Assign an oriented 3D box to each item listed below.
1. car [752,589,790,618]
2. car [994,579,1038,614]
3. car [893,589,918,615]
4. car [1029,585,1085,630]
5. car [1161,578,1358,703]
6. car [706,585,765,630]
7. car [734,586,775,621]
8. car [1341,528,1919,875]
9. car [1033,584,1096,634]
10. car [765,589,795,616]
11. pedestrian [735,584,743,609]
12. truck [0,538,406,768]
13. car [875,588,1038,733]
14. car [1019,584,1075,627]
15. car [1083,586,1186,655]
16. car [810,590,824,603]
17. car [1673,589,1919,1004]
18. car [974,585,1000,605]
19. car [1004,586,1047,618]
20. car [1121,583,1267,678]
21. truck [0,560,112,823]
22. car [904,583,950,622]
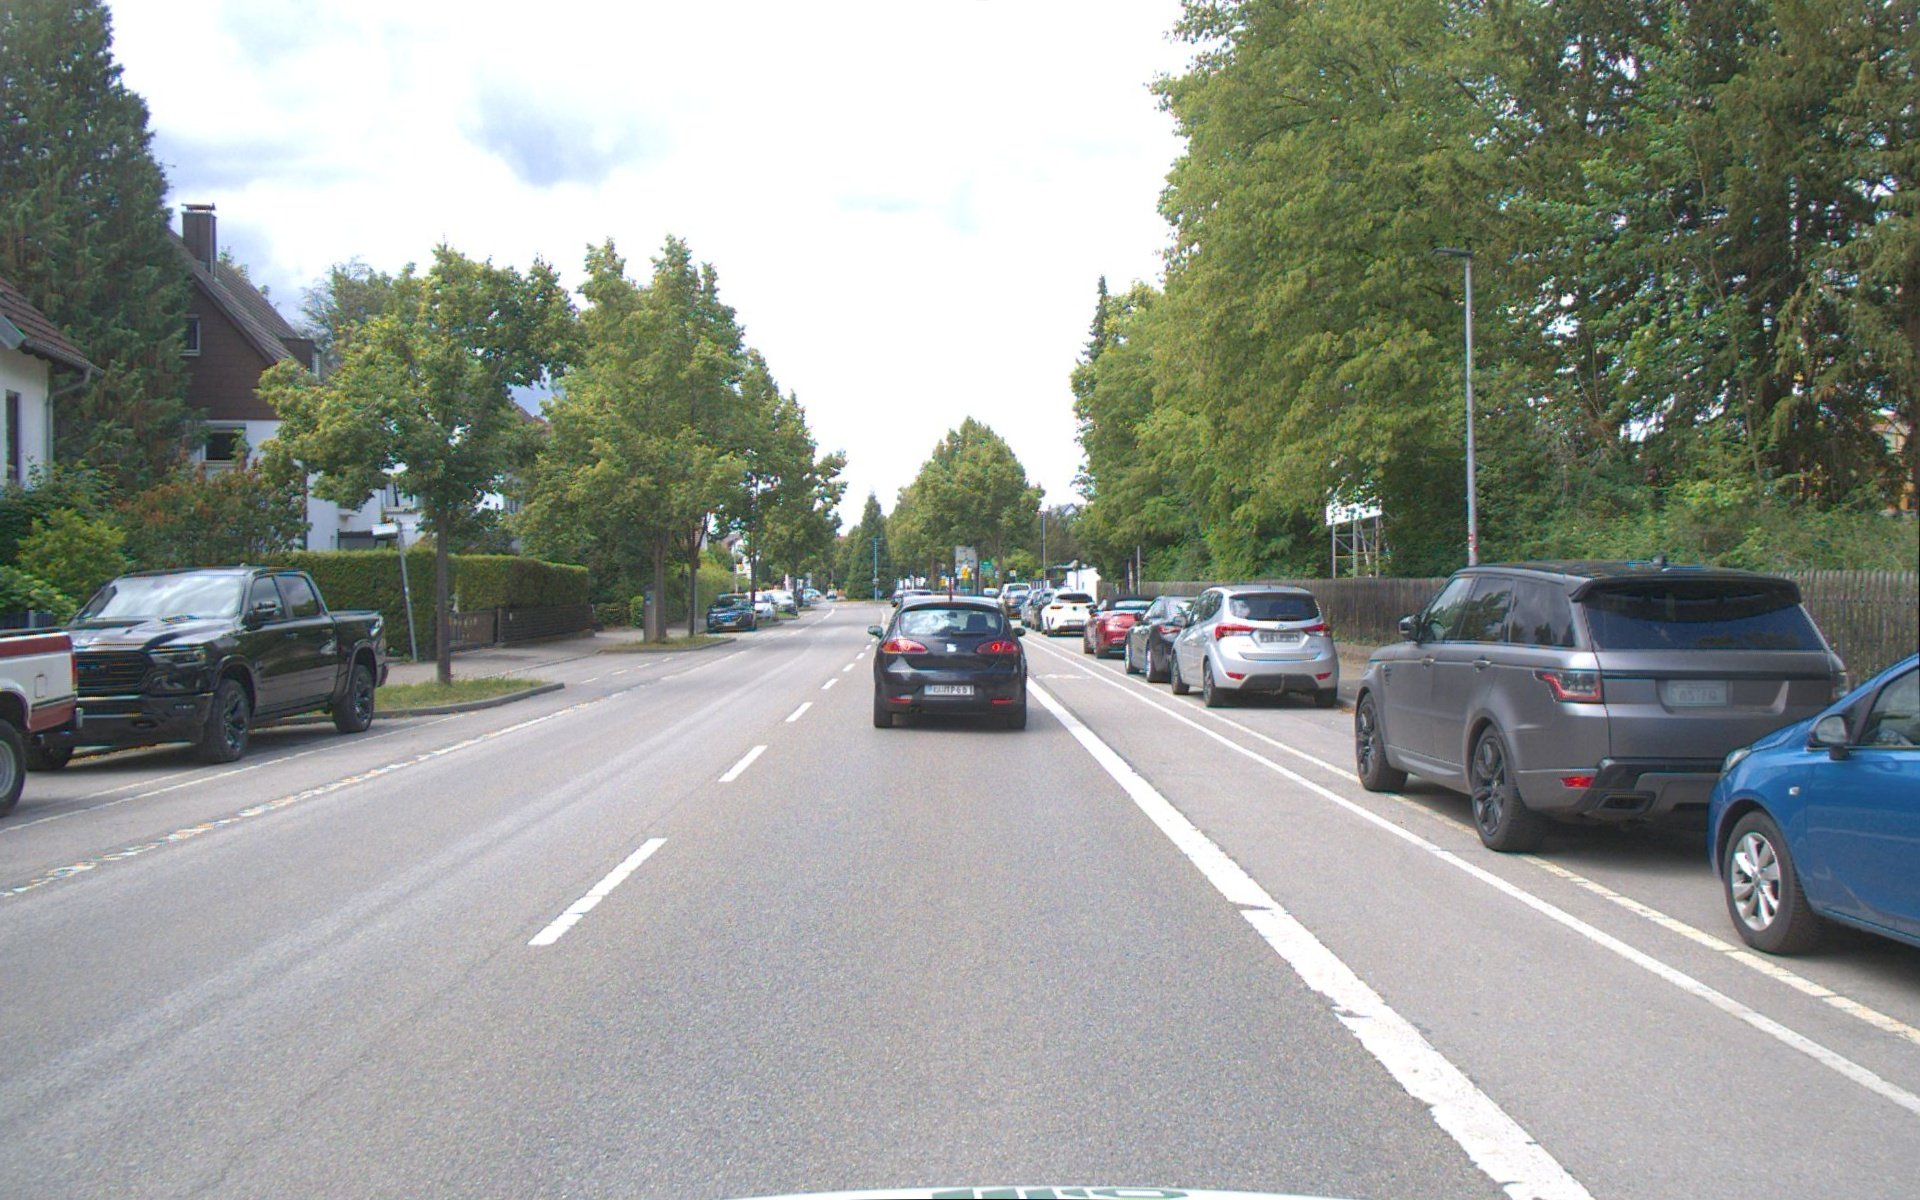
[{"bbox_3d":[-10.393,0.165,91.036,1.955,1.511,4.884,-2,0,-6],"label":"car"},{"bbox_3d":[2.839,-0.176,85.136,1.863,1.671,4.114,-1,0,-3],"label":"car"},{"bbox_3d":[-4.497,0.169,136.596,1.953,2.049,3.998,-1,0,-2],"label":"car"},{"bbox_3d":[3.448,0.245,59.639,1.667,1.536,4.537,0,1,-1],"label":"car"},{"bbox_3d":[4.157,0.507,23.686,1.825,1.617,4.419,0,0,-3],"label":"car"},{"bbox_3d":[-9.118,0.271,67.551,2.054,1.675,5.033,-2,1,-5],"label":"car"},{"bbox_3d":[-10.139,0.177,81.800,1.684,1.641,3.907,-2,0,-4],"label":"car"},{"bbox_3d":[4.160,0.547,11.292,1.953,1.847,4.826,0,0,-1],"label":"car"},{"bbox_3d":[3.371,0.288,54.031,1.732,1.537,4.030,-1,0,-1],"label":"car"},{"bbox_3d":[-10.810,0.118,99.760,1.644,1.579,4.268,-1,0,-5],"label":"car"},{"bbox_3d":[-16.310,-0.278,122.122,0.493,1.837,0.671,-1,0,-4],"label":"pedestrian"},{"bbox_3d":[-8.244,0.464,18.191,2.374,2.079,5.993,-1,0,-2],"label":"truck"},{"bbox_3d":[-0.054,0.627,19.449,1.697,1.512,3.999,1,0,-1],"label":"car"},{"bbox_3d":[3.399,0.205,65.487,1.824,1.639,4.684,0,0,-2],"label":"car"},{"bbox_3d":[3.989,0.423,38.455,1.821,1.438,4.442,1,1,-1],"label":"car"},{"bbox_3d":[-19.205,-0.513,222.280,1.762,1.629,3.997,-2,1,-4],"label":"car"},{"bbox_3d":[4.357,0.721,6.055,1.651,1.527,3.919,0,0,-3],"label":"car"},{"bbox_3d":[1.982,-0.355,121.749,1.579,1.401,4.384,-1,-1,-3],"label":"car"},{"bbox_3d":[3.084,0.050,78.470,1.825,1.441,4.602,-1,1,-1],"label":"car"},{"bbox_3d":[4.044,0.492,29.302,1.779,1.541,4.678,0,0,-2],"label":"car"},{"bbox_3d":[-7.901,0.710,10.658,1.927,1.901,5.664,-3,0,-1],"label":"truck"},{"bbox_3d":[-1.509,0.085,73.792,1.953,1.641,3.998,-1,0,-2],"label":"car"}]
